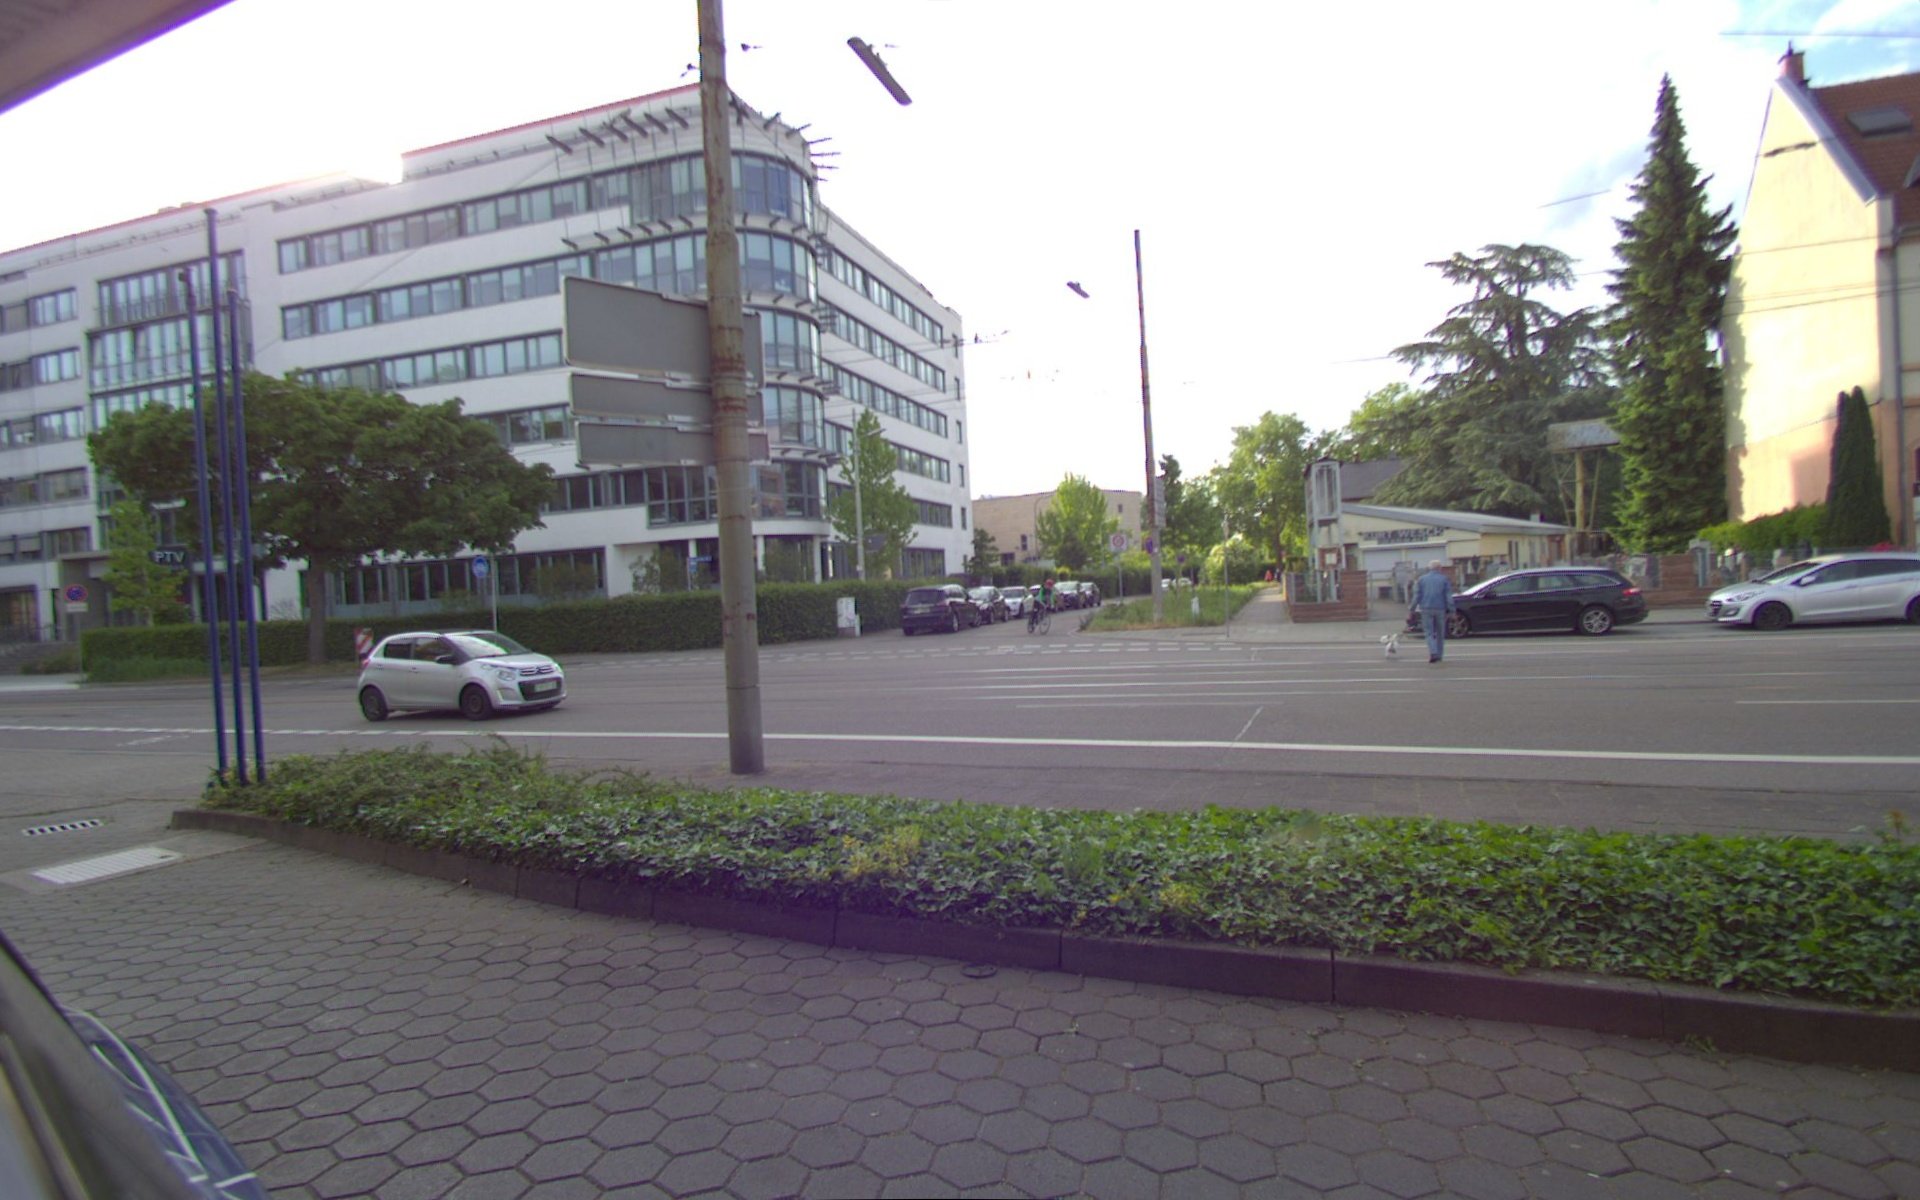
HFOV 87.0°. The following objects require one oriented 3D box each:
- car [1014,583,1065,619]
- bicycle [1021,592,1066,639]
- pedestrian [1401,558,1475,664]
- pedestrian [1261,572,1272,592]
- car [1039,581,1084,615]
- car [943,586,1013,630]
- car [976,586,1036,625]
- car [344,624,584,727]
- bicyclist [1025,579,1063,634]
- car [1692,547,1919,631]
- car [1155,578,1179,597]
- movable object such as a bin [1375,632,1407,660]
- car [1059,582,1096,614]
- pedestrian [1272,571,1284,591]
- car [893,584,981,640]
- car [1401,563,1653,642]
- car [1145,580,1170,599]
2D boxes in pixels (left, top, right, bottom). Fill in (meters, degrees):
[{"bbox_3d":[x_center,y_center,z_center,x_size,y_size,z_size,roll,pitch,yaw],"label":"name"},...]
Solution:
[{"bbox_3d":[4.176,0.031,52.490,1.929,1.650,4.274,-3,0,13],"label":"car"},{"bbox_3d":[2.622,0.469,32.008,0.852,1.320,1.924,-4,3,-12],"label":"bicycle"},{"bbox_3d":[7.970,0.172,16.850,0.999,1.680,0.961,-2,1,29],"label":"pedestrian"},{"bbox_3d":[29.068,-1.725,95.927,0.899,1.865,0.942,-3,-1,20],"label":"pedestrian"},{"bbox_3d":[5.835,-0.141,57.719,1.929,1.748,4.512,-3,0,13],"label":"car"},{"bbox_3d":[0.794,0.295,40.973,1.929,1.551,4.274,-3,0,13],"label":"car"},{"bbox_3d":[2.142,0.220,45.784,1.929,1.530,4.274,-3,0,13],"label":"car"},{"bbox_3d":[-8.248,1.251,16.878,3.403,1.443,1.679,-3,2,21],"label":"car"},{"bbox_3d":[2.630,0.184,31.925,0.852,1.617,1.031,-4,3,-12],"label":"bicyclist"},{"bbox_3d":[18.424,-0.243,21.380,4.424,1.494,1.713,-3,1,21],"label":"car"},{"bbox_3d":[21.689,-1.311,106.160,1.849,1.748,4.246,-3,0,19],"label":"car"},{"bbox_3d":[7.713,0.823,18.124,0.477,0.424,0.675,-3,1,21],"label":"movable object such as a bin"},{"bbox_3d":[7.289,-0.149,62.493,1.731,1.748,4.030,-3,0,13],"label":"car"},{"bbox_3d":[30.063,-1.789,95.705,0.899,1.865,0.942,-3,-1,20],"label":"pedestrian"},{"bbox_3d":[-0.725,0.363,35.413,1.994,1.704,4.274,-3,1,13],"label":"car"},{"bbox_3d":[12.912,0.056,23.441,4.742,1.511,2.001,-3,1,21],"label":"car"},{"bbox_3d":[19.697,-1.063,100.791,1.849,1.748,4.247,-3,0,19],"label":"car"}]
